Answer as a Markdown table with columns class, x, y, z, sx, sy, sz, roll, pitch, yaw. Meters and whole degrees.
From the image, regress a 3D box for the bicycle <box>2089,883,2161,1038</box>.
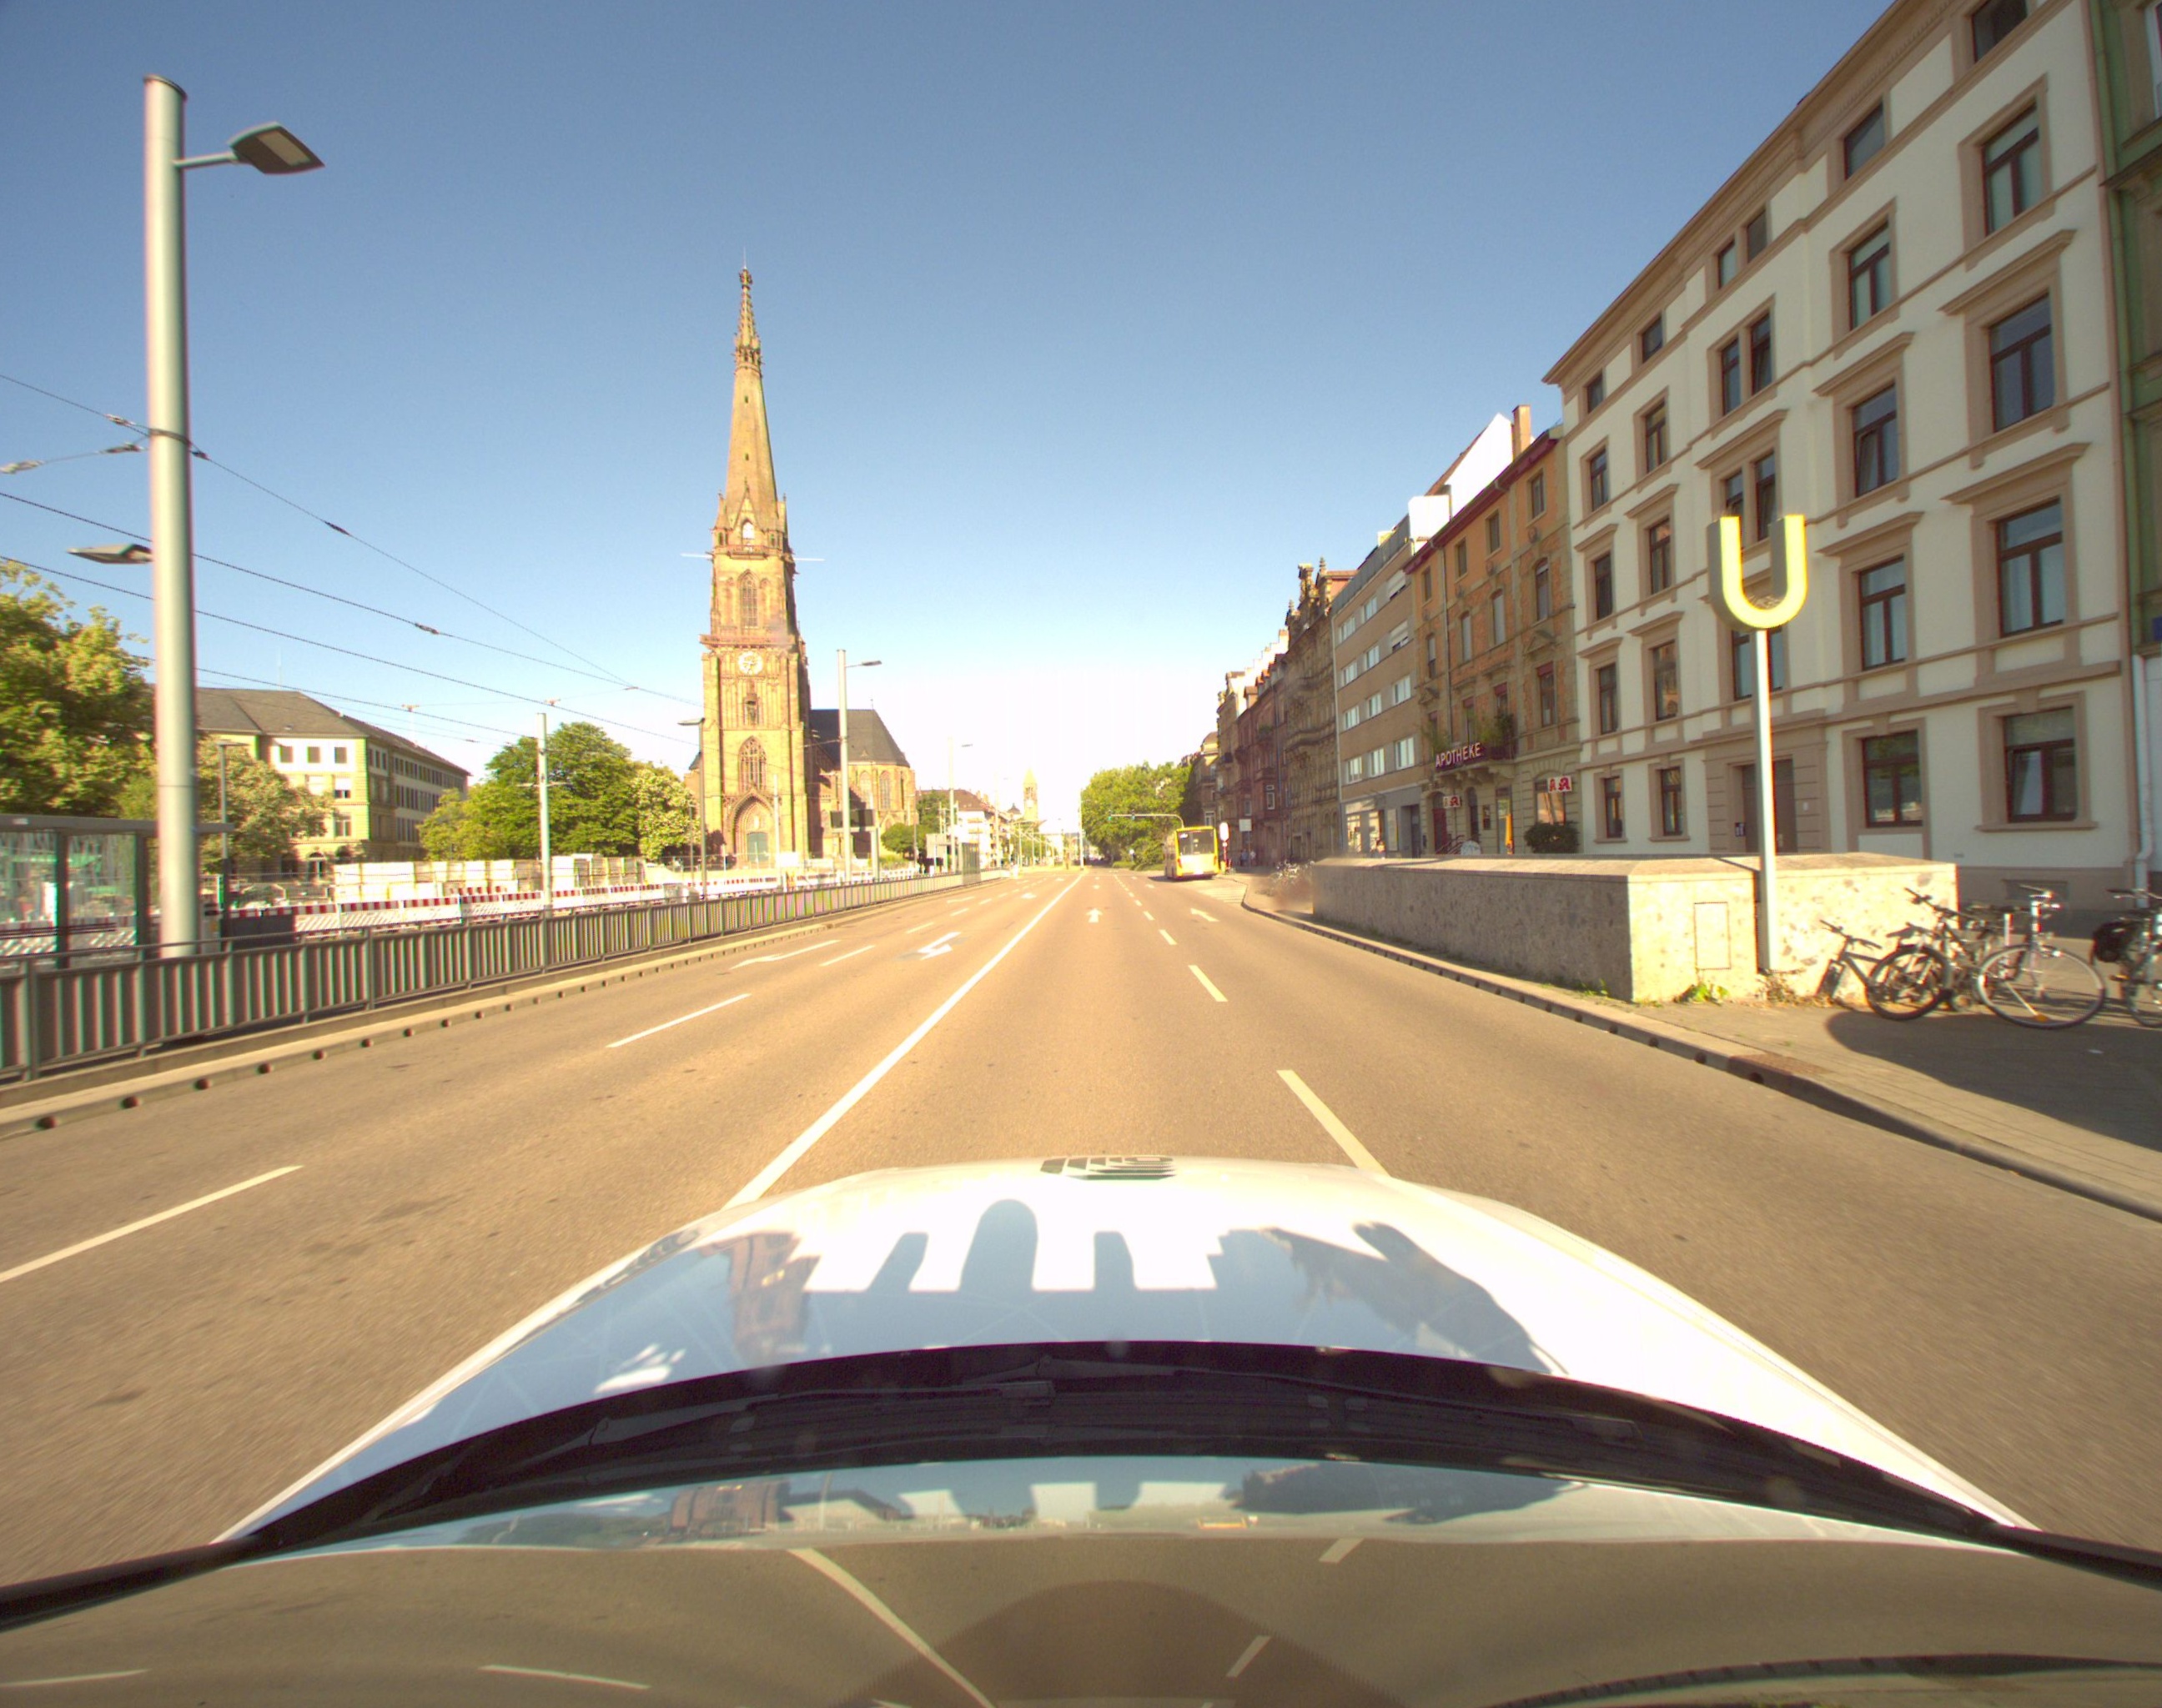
| class | x | y | z | sx | sy | sz | roll | pitch | yaw |
| --- | --- | --- | --- | --- | --- | --- | --- | --- | --- |
| bicycle | 8.458 | 0.812 | 6.458 | 0.414 | 1.110 | 1.102 | 0 | 0 | 42 |

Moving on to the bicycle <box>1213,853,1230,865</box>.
| class | x | y | z | sx | sy | sz | roll | pitch | yaw |
| --- | --- | --- | --- | --- | --- | --- | --- | --- | --- |
| bicycle | 16.507 | 0.600 | 95.803 | 1.884 | 1.239 | 0.488 | -3 | -2 | -12 |

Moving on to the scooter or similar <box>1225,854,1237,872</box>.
| class | x | y | z | sx | sy | sz | roll | pitch | yaw |
| --- | --- | --- | --- | --- | --- | --- | --- | --- | --- |
| scooter or similar | 10.798 | 0.625 | 58.598 | 0.431 | 1.249 | 1.291 | -4 | -1 | -8 |

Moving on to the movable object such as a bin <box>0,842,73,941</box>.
| class | x | y | z | sx | sy | sz | roll | pitch | yaw |
| --- | --- | --- | --- | --- | --- | --- | --- | --- | --- |
| movable object such as a bin | -29.034 | 1.078 | 20.066 | 2.633 | 2.525 | 5.141 | -4 | 2 | -17 |

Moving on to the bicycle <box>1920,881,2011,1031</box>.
| class | x | y | z | sx | sy | sz | roll | pitch | yaw |
| --- | --- | --- | --- | --- | --- | --- | --- | --- | --- |
| bicycle | 7.342 | 0.798 | 6.788 | 0.414 | 1.110 | 1.102 | 0 | 0 | 42 |

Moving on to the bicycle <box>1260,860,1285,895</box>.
| class | x | y | z | sx | sy | sz | roll | pitch | yaw |
| --- | --- | --- | --- | --- | --- | --- | --- | --- | --- |
| bicycle | 6.702 | 0.809 | 28.518 | 0.467 | 1.147 | 1.771 | -1 | 1 | 1 |

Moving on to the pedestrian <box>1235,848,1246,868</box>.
| class | x | y | z | sx | sy | sz | roll | pitch | yaw |
| --- | --- | --- | --- | --- | --- | --- | --- | --- | --- |
| pedestrian | 15.886 | 0.386 | 81.241 | 0.819 | 1.930 | 1.137 | -2 | 0 | 1 |

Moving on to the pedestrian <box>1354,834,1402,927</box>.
| class | x | y | z | sx | sy | sz | roll | pitch | yaw |
| --- | --- | --- | --- | --- | --- | --- | --- | --- | --- |
| pedestrian | 6.710 | 0.583 | 18.419 | 0.748 | 2.013 | 0.698 | -3 | 2 | 1 |

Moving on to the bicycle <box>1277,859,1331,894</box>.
| class | x | y | z | sx | sy | sz | roll | pitch | yaw |
| --- | --- | --- | --- | --- | --- | --- | --- | --- | --- |
| bicycle | 7.824 | 0.779 | 28.581 | 1.759 | 1.187 | 0.470 | -1 | 0 | 0 |

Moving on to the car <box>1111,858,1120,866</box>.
| class | x | y | z | sx | sy | sz | roll | pitch | yaw |
| --- | --- | --- | --- | --- | --- | --- | --- | --- | --- |
| car | 6.752 | 1.543 | 161.106 | 1.637 | 1.511 | 4.184 | -3 | 0 | 2 |

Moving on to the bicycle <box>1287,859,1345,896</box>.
| class | x | y | z | sx | sy | sz | roll | pitch | yaw |
| --- | --- | --- | --- | --- | --- | --- | --- | --- | --- |
| bicycle | 7.794 | 0.776 | 27.054 | 1.759 | 1.187 | 0.470 | -1 | 0 | 0 |

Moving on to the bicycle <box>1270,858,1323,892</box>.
| class | x | y | z | sx | sy | sz | roll | pitch | yaw |
| --- | --- | --- | --- | --- | --- | --- | --- | --- | --- |
| bicycle | 7.829 | 0.748 | 29.591 | 1.759 | 1.187 | 0.470 | -1 | 0 | 0 |

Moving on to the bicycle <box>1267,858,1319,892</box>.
| class | x | y | z | sx | sy | sz | roll | pitch | yaw |
| --- | --- | --- | --- | --- | --- | --- | --- | --- | --- |
| bicycle | 7.822 | 0.771 | 30.081 | 1.785 | 1.187 | 0.470 | -1 | 0 | 0 |

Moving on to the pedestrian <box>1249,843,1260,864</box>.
| class | x | y | z | sx | sy | sz | roll | pitch | yaw |
| --- | --- | --- | --- | --- | --- | --- | --- | --- | --- |
| pedestrian | 16.740 | -0.023 | 78.571 | 0.819 | 1.930 | 1.137 | -2 | 0 | 1 |

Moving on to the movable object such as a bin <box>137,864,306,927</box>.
| class | x | y | z | sx | sy | sz | roll | pitch | yaw |
| --- | --- | --- | --- | --- | --- | --- | --- | --- | --- |
| movable object such as a bin | -27.428 | 1.266 | 26.171 | 1.169 | 1.586 | 3.866 | -3 | 2 | 1 |

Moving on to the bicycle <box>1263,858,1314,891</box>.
| class | x | y | z | sx | sy | sz | roll | pitch | yaw |
| --- | --- | --- | --- | --- | --- | --- | --- | --- | --- |
| bicycle | 7.796 | 0.755 | 30.585 | 1.759 | 1.187 | 0.470 | -1 | 0 | 0 |

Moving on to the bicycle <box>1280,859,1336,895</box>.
| class | x | y | z | sx | sy | sz | roll | pitch | yaw |
| --- | --- | --- | --- | --- | --- | --- | --- | --- | --- |
| bicycle | 7.817 | 0.784 | 28.062 | 1.759 | 1.187 | 0.470 | -1 | 0 | 0 |

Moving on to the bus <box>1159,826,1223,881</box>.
| class | x | y | z | sx | sy | sz | roll | pitch | yaw |
| --- | --- | --- | --- | --- | --- | --- | --- | --- | --- |
| bus | 7.207 | -0.022 | 55.058 | 2.705 | 3.181 | 12.543 | -3 | 0 | 1 |

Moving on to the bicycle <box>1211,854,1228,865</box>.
| class | x | y | z | sx | sy | sz | roll | pitch | yaw |
| --- | --- | --- | --- | --- | --- | --- | --- | --- | --- |
| bicycle | 16.436 | 0.661 | 96.958 | 1.884 | 1.239 | 0.488 | -3 | -2 | -12 |

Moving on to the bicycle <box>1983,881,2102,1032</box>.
| class | x | y | z | sx | sy | sz | roll | pitch | yaw |
| --- | --- | --- | --- | --- | --- | --- | --- | --- | --- |
| bicycle | 8.021 | 0.805 | 6.830 | 0.503 | 1.110 | 1.102 | 0 | 0 | 42 |

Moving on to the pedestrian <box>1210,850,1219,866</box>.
| class | x | y | z | sx | sy | sz | roll | pitch | yaw |
| --- | --- | --- | --- | --- | --- | --- | --- | --- | --- |
| pedestrian | 14.547 | 0.463 | 88.881 | 0.700 | 1.656 | 1.137 | -2 | 0 | 1 |

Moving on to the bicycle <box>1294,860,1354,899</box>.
| class | x | y | z | sx | sy | sz | roll | pitch | yaw |
| --- | --- | --- | --- | --- | --- | --- | --- | --- | --- |
| bicycle | 7.781 | 0.797 | 26.054 | 1.759 | 1.178 | 0.470 | -1 | 0 | 0 |

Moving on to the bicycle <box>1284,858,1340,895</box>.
| class | x | y | z | sx | sy | sz | roll | pitch | yaw |
| --- | --- | --- | --- | --- | --- | --- | --- | --- | --- |
| bicycle | 7.807 | 0.772 | 27.555 | 1.759 | 1.187 | 0.470 | -1 | 0 | 0 |

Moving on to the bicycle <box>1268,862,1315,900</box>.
| class | x | y | z | sx | sy | sz | roll | pitch | yaw |
| --- | --- | --- | --- | --- | --- | --- | --- | --- | --- |
| bicycle | 6.647 | 0.829 | 25.807 | 0.470 | 1.147 | 1.758 | -2 | 1 | -22 |

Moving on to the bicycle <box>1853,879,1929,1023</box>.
| class | x | y | z | sx | sy | sz | roll | pitch | yaw |
| --- | --- | --- | --- | --- | --- | --- | --- | --- | --- |
| bicycle | 7.015 | 0.796 | 7.080 | 0.414 | 1.110 | 1.102 | 0 | 0 | 42 |

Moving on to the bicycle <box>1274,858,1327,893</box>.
| class | x | y | z | sx | sy | sz | roll | pitch | yaw |
| --- | --- | --- | --- | --- | --- | --- | --- | --- | --- |
| bicycle | 7.835 | 0.771 | 29.084 | 1.759 | 1.187 | 0.470 | -1 | 0 | 0 |

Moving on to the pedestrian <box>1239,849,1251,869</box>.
| class | x | y | z | sx | sy | sz | roll | pitch | yaw |
| --- | --- | --- | --- | --- | --- | --- | --- | --- | --- |
| pedestrian | 15.812 | 0.502 | 78.566 | 0.819 | 1.930 | 1.137 | -2 | 0 | 1 |

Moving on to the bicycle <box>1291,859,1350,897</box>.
| class | x | y | z | sx | sy | sz | roll | pitch | yaw |
| --- | --- | --- | --- | --- | --- | --- | --- | --- | --- |
| bicycle | 7.795 | 0.777 | 26.556 | 1.759 | 1.178 | 0.470 | -1 | 0 | 0 |
